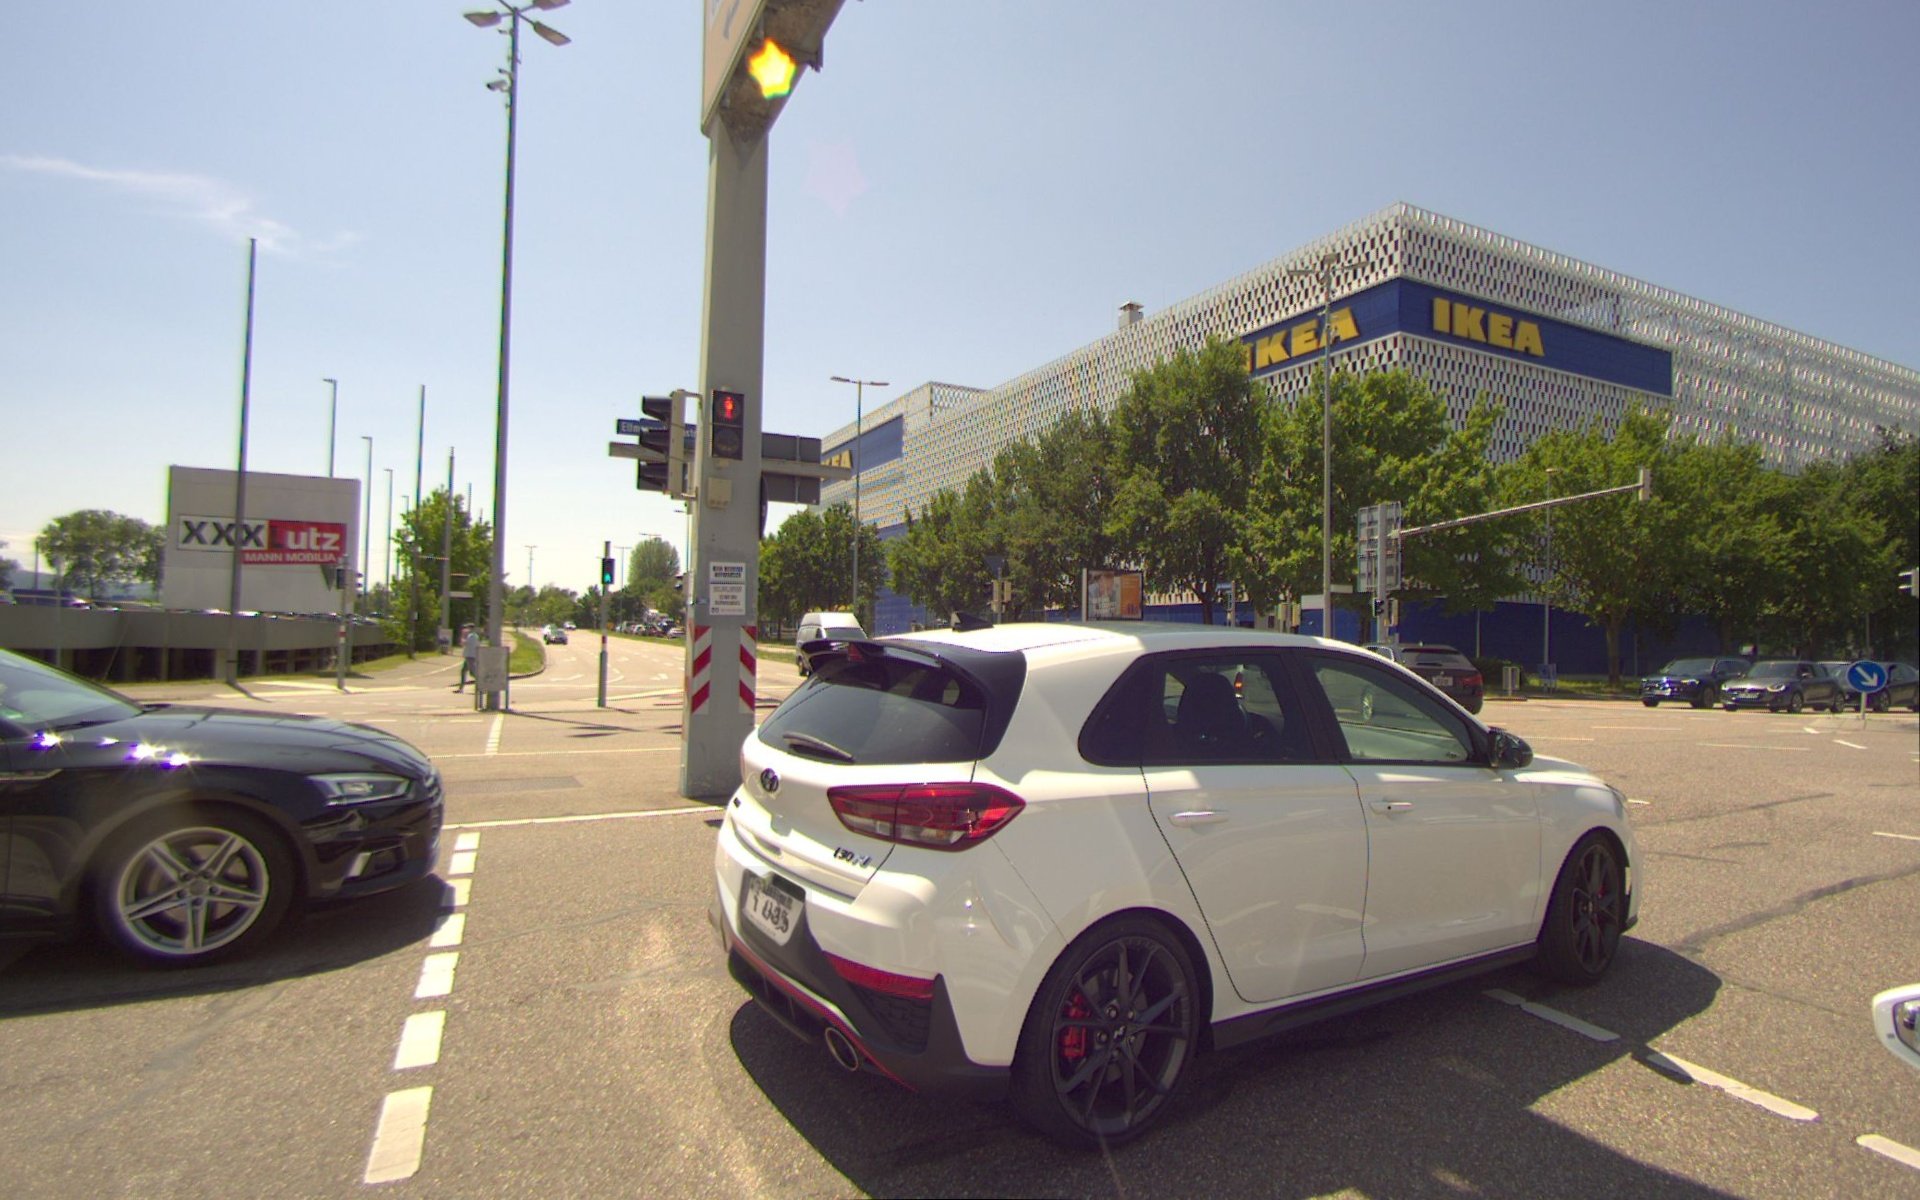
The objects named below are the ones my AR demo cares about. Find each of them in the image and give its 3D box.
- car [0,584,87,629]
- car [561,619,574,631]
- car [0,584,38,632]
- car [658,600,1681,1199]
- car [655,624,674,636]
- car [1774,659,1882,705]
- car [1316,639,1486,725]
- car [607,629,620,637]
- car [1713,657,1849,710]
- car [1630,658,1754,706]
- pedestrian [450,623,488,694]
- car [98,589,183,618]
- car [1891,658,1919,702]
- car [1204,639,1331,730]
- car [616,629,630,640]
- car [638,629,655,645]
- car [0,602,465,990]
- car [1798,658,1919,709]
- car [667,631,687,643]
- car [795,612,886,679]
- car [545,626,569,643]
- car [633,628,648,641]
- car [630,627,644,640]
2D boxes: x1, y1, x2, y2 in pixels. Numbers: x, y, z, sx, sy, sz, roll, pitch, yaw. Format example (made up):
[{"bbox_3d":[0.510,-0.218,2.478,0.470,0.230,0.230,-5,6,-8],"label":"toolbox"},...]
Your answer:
[{"bbox_3d":[-45.043,0.312,48.287,4.281,2.040,1.983,3,-3,-31],"label":"car"},{"bbox_3d":[-69.005,4.445,176.688,1.792,2.040,3.974,2,-2,-26],"label":"car"},{"bbox_3d":[-42.750,0.302,43.081,4.280,2.040,1.984,3,-3,-31],"label":"car"},{"bbox_3d":[1.029,0.795,4.149,4.025,1.455,1.778,2,-1,-32],"label":"car"},{"bbox_3d":[-42.216,4.253,143.333,1.974,1.572,3.974,2,-2,-26],"label":"car"},{"bbox_3d":[32.049,3.025,37.073,3.867,1.564,1.720,3,-3,-28],"label":"car"},{"bbox_3d":[8.549,1.547,19.936,1.767,1.459,4.560,1,-3,6],"label":"car"},{"bbox_3d":[-58.658,5.596,170.194,1.607,1.368,3.475,2,-2,-26],"label":"car"},{"bbox_3d":[23.364,2.374,28.578,3.668,1.407,1.638,3,-5,-27],"label":"car"},{"bbox_3d":[23.483,2.625,32.217,3.988,1.442,1.654,3,-3,-28],"label":"car"},{"bbox_3d":[-12.614,1.500,25.820,0.815,1.807,0.601,2,-2,-24],"label":"pedestrian"},{"bbox_3d":[-55.120,0.270,67.674,4.082,1.764,1.771,3,-3,-27],"label":"car"},{"bbox_3d":[34.548,2.796,34.809,4.656,1.464,1.722,3,-4,-25],"label":"car"},{"bbox_3d":[5.420,1.441,18.145,1.663,1.441,4.012,0,-2,10],"label":"car"},{"bbox_3d":[-53.973,5.521,160.869,1.607,1.629,3.475,2,-2,-27],"label":"car"},{"bbox_3d":[-41.927,4.948,134.357,1.748,2.040,3.816,2,-2,-24],"label":"car"},{"bbox_3d":[-4.513,0.728,4.140,4.409,1.423,1.666,1,-2,-27],"label":"car"},{"bbox_3d":[28.549,2.643,31.671,4.189,1.524,1.721,3,-5,-27],"label":"car"},{"bbox_3d":[-38.353,4.955,135.930,1.973,1.572,3.976,2,-2,-25],"label":"car"},{"bbox_3d":[-4.366,1.599,35.947,1.971,2.212,5.023,1,-2,-22],"label":"car"},{"bbox_3d":[-37.695,3.227,93.870,1.835,1.528,3.975,2,-2,-25],"label":"car"},{"bbox_3d":[-45.482,4.949,142.759,1.606,1.835,3.478,2,-2,-24],"label":"car"},{"bbox_3d":[-47.837,4.984,148.730,1.606,1.937,3.477,2,-2,-25],"label":"car"}]
